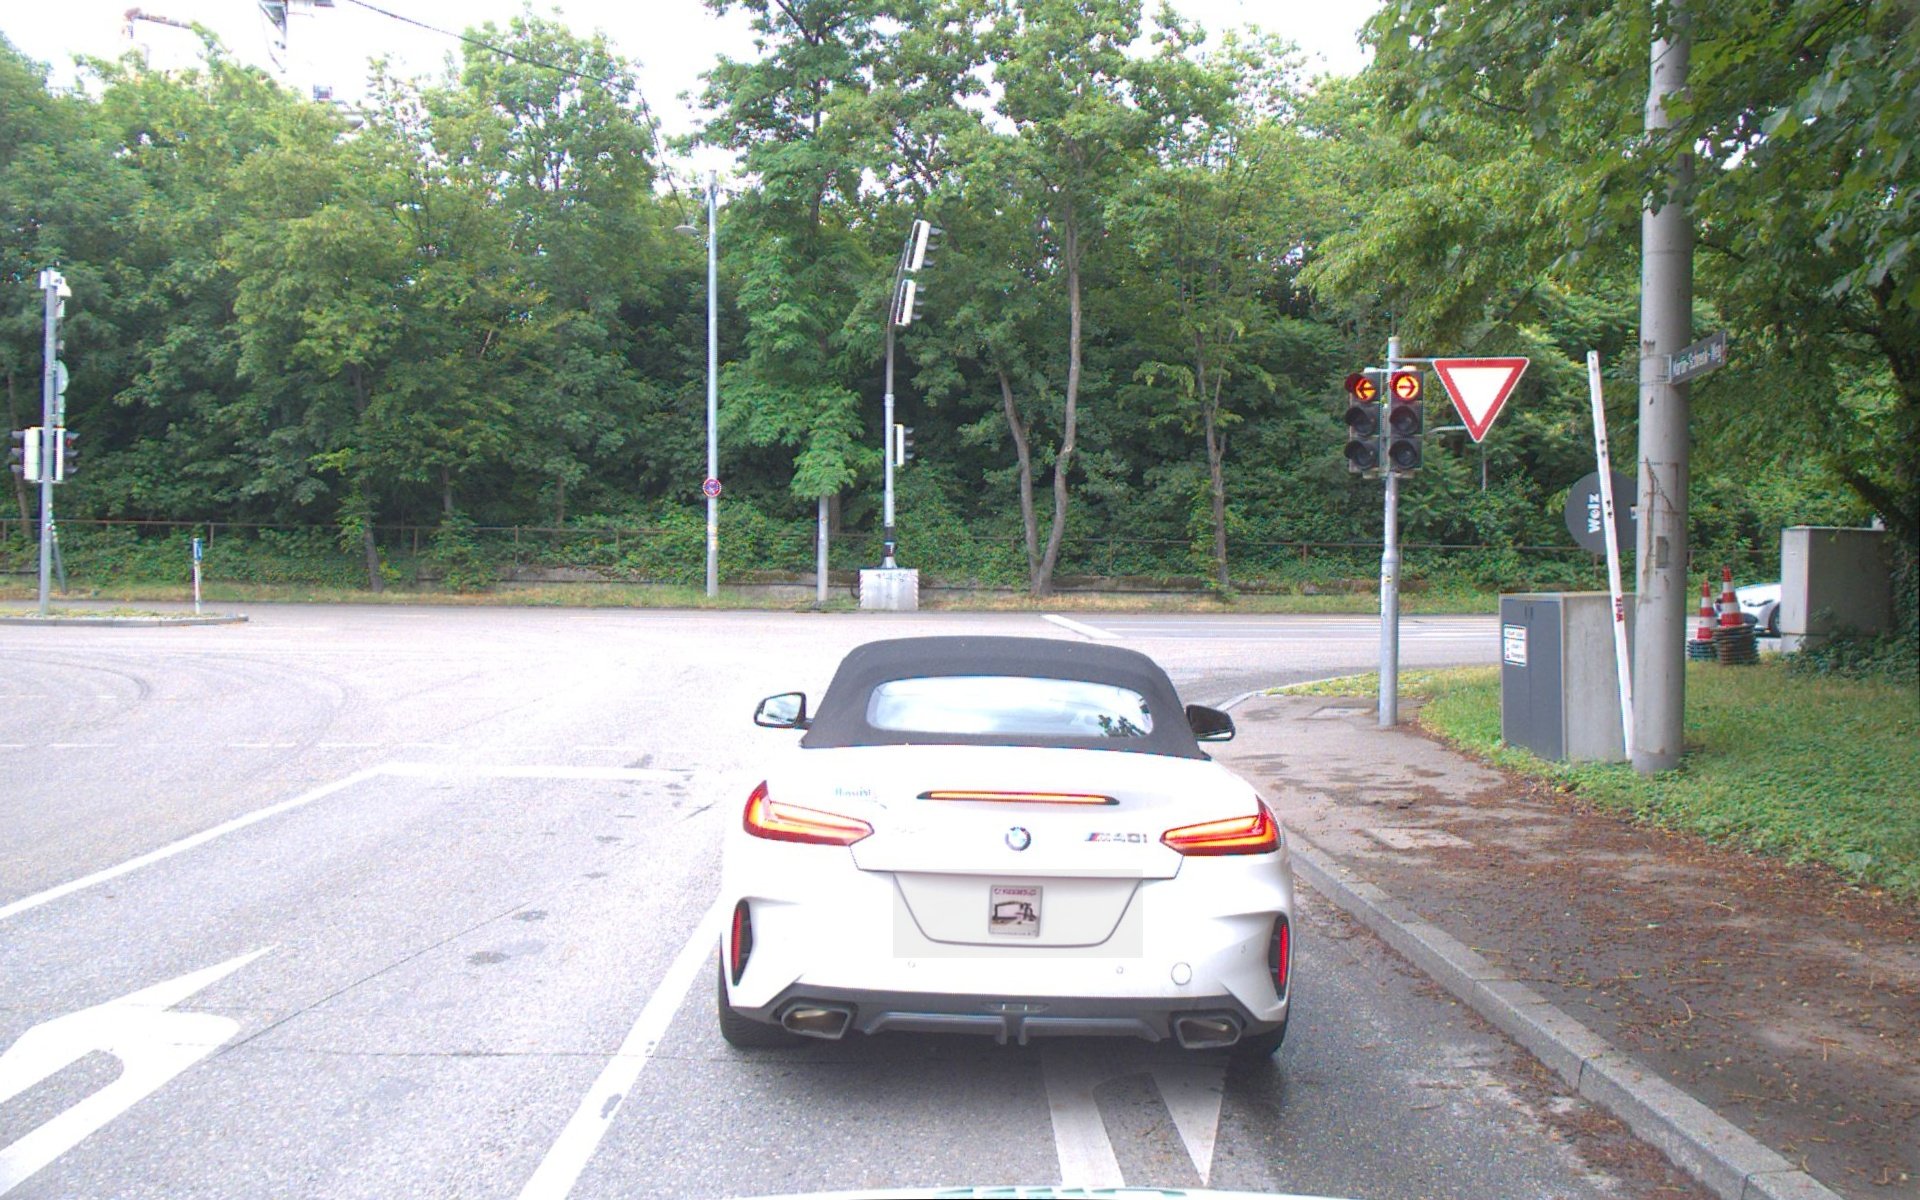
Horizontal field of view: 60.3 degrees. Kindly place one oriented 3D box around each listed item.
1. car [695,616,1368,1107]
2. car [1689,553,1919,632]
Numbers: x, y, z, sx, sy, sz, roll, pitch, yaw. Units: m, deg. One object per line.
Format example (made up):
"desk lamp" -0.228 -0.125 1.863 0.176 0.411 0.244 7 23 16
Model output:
"car" 0.108 0.749 6.455 1.791 1.279 3.997 2 -1 -3
"car" 16.544 -0.154 31.295 4.654 1.356 1.834 1 3 0
